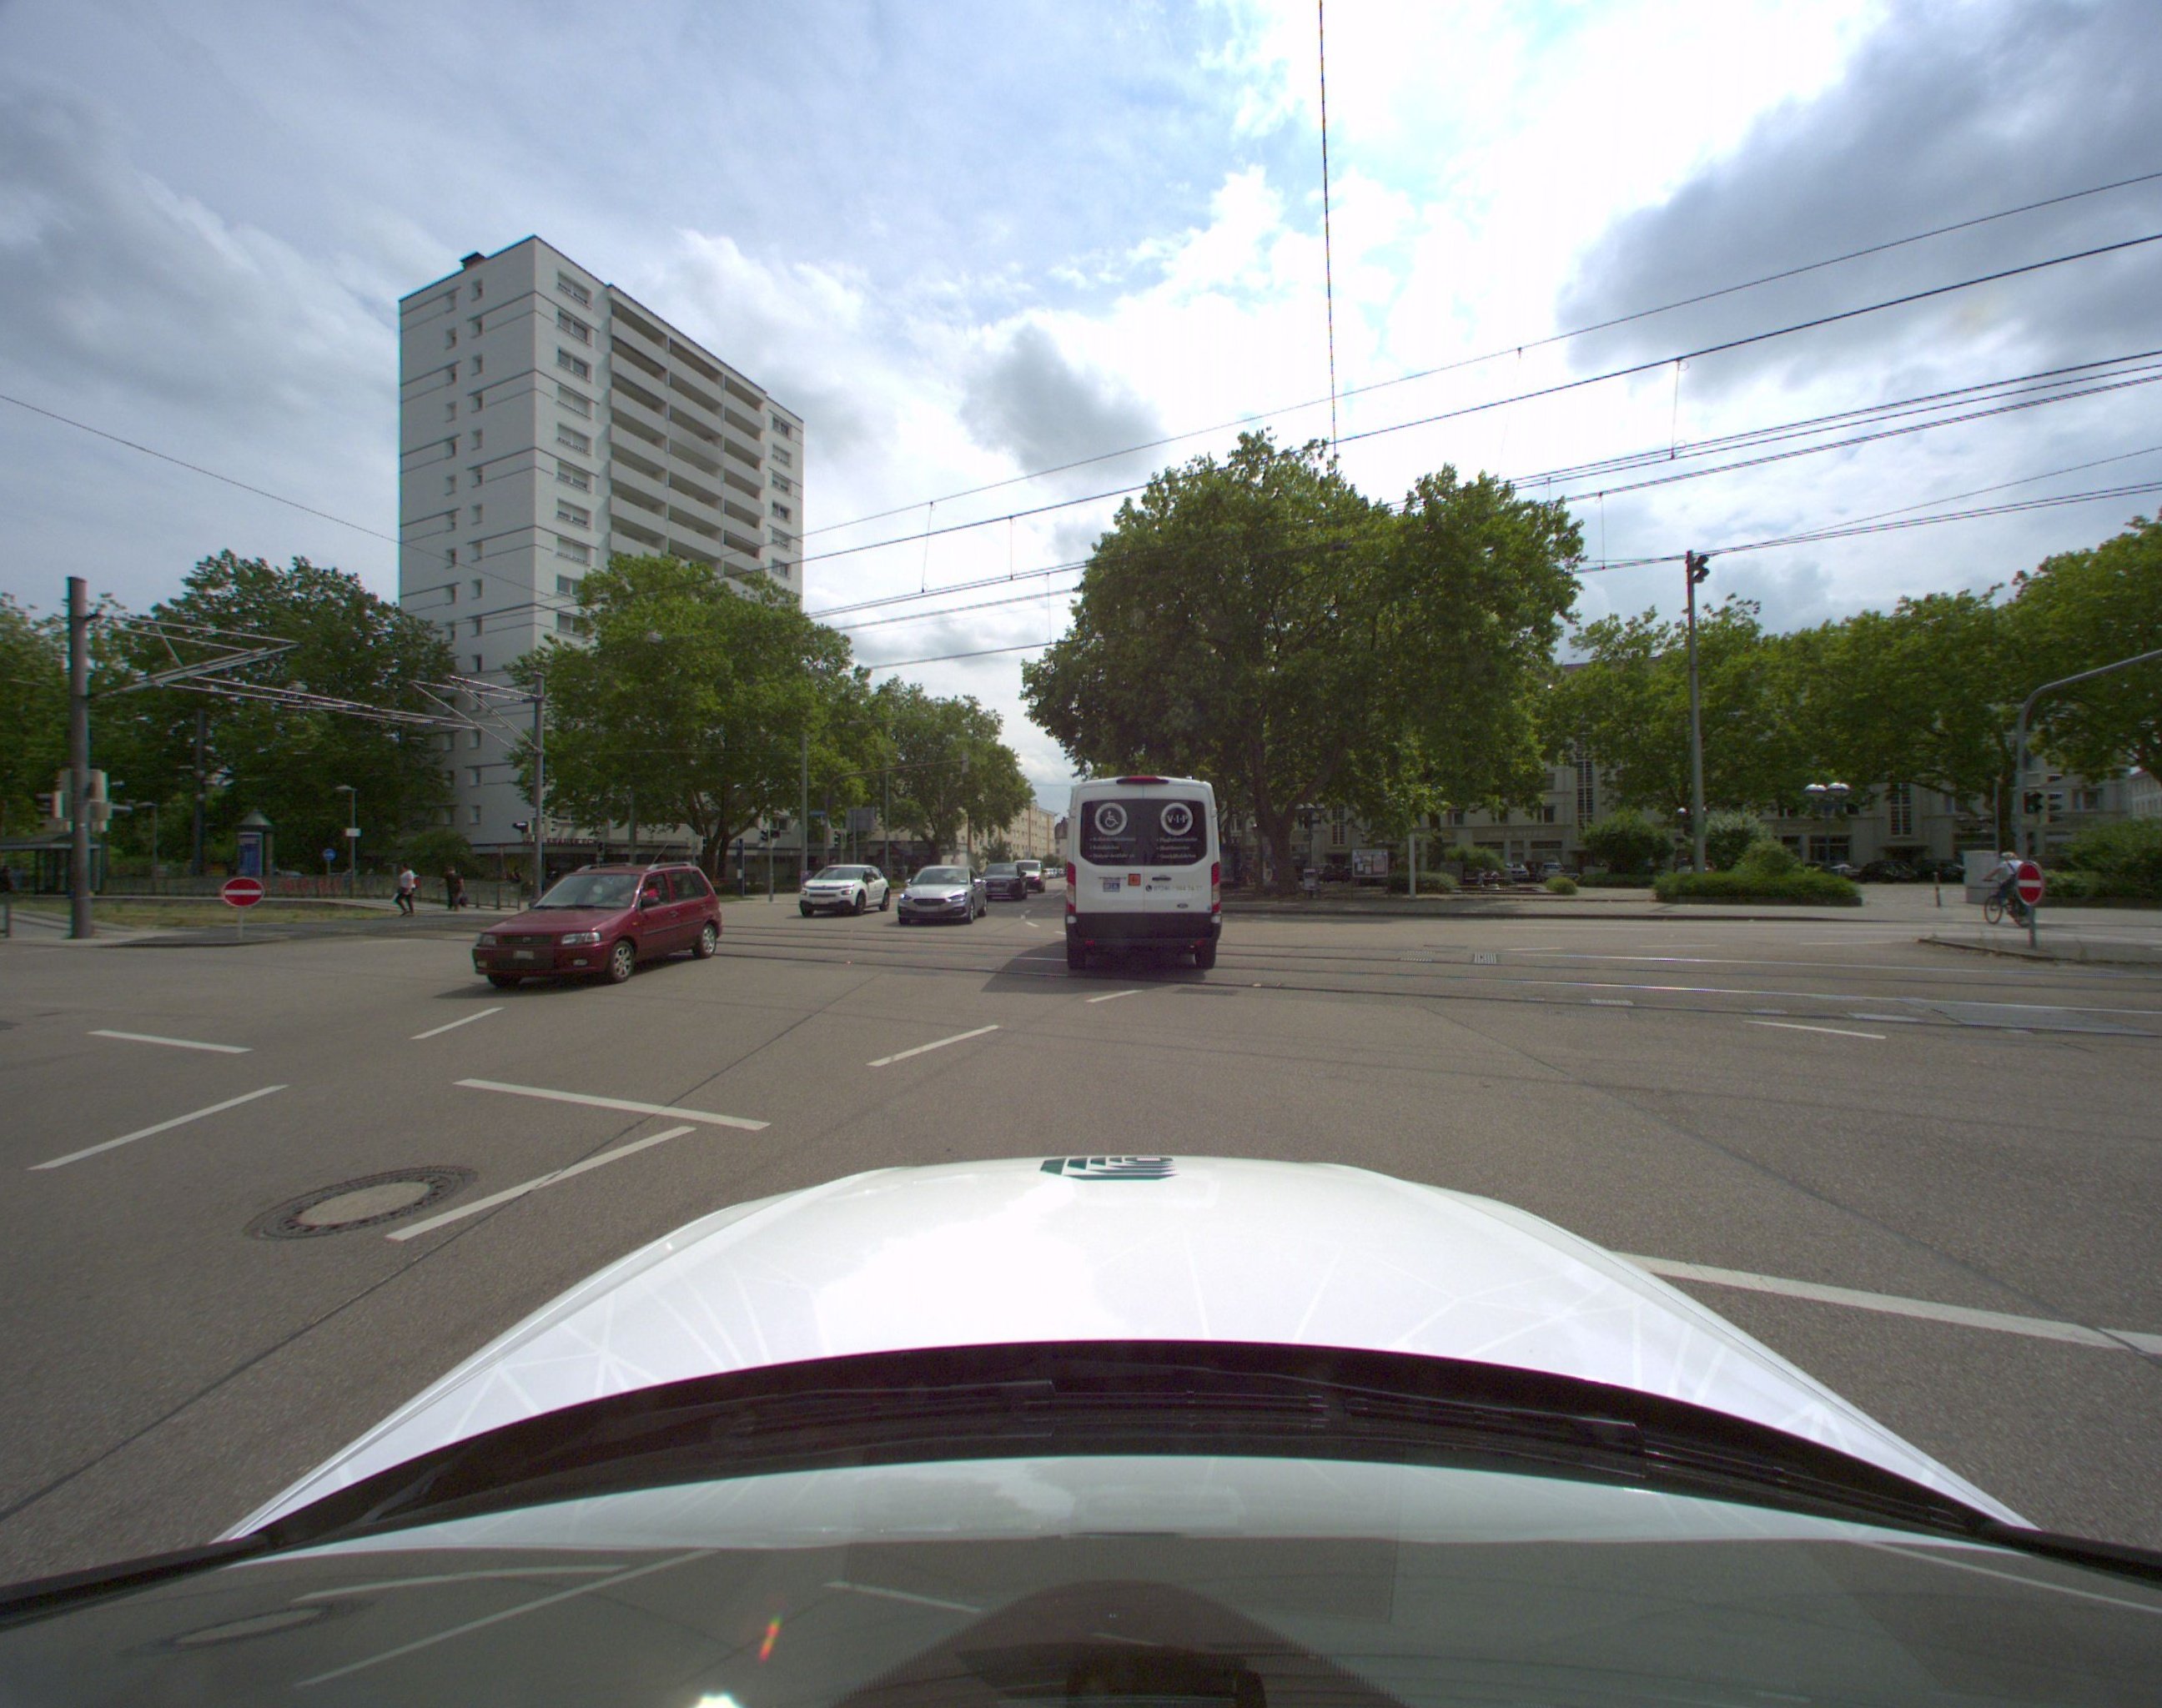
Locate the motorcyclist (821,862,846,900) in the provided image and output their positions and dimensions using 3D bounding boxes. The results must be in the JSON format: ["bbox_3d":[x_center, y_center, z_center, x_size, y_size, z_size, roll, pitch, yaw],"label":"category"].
[{"bbox_3d":[-9.138,0.989,30.090,0.681,1.395,0.681,-1,-1,0],"label":"motorcyclist"}]

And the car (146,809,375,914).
[{"bbox_3d":[-34.206,0.352,33.895,9.795,3.915,3.475,-1,-1,24],"label":"car"}]

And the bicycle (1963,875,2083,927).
[{"bbox_3d":[21.292,1.039,18.481,0.895,1.075,1.979,-1,-1,19],"label":"bicycle"}]

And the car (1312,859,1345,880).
[{"bbox_3d":[20.347,1.272,67.184,1.796,1.684,4.005,-1,-1,5],"label":"car"}]

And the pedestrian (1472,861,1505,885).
[{"bbox_3d":[21.757,1.021,43.535,1.086,1.236,1.442,-3,-2,4],"label":"pedestrian"}]

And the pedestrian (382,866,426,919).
[{"bbox_3d":[-20.417,1.146,24.578,0.800,1.572,0.727,-1,-1,23],"label":"pedestrian"}]

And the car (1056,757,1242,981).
[{"bbox_3d":[0.775,0.165,12.171,2.176,2.648,4.625,-2,0,-2],"label":"car"}]

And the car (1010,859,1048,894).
[{"bbox_3d":[-3.052,1.289,48.480,1.736,1.930,4.856,-1,-1,2],"label":"car"}]

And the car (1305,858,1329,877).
[{"bbox_3d":[22.508,1.270,77.453,1.789,1.684,4.021,-1,-1,22],"label":"car"}]

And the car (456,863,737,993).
[{"bbox_3d":[-6.547,0.899,11.543,1.586,1.508,3.809,-1,-1,2],"label":"car"}]

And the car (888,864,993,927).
[{"bbox_3d":[-3.483,0.985,20.989,1.825,1.427,4.123,-1,-1,2],"label":"car"}]

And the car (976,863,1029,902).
[{"bbox_3d":[-3.376,1.198,35.673,1.736,1.588,4.331,-1,-1,2],"label":"car"}]

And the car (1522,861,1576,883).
[{"bbox_3d":[34.938,1.321,60.955,1.984,1.519,4.005,-1,-1,5],"label":"car"}]

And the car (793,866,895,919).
[{"bbox_3d":[-7.013,1.090,24.549,1.736,1.427,4.034,-1,-1,2],"label":"car"}]

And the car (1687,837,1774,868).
[{"bbox_3d":[41.299,-0.093,51.903,3.951,1.883,1.868,-1,-1,24],"label":"car"}]

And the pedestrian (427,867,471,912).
[{"bbox_3d":[-21.826,1.226,28.133,0.716,1.514,0.935,-1,-1,12],"label":"pedestrian"}]

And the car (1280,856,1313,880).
[{"bbox_3d":[17.858,1.117,67.649,1.984,1.931,4.005,-1,-1,5],"label":"car"}]

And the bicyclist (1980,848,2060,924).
[{"bbox_3d":[21.268,0.714,18.469,0.896,1.683,0.760,-1,-1,19],"label":"bicyclist"}]

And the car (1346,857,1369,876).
[{"bbox_3d":[25.787,1.146,75.883,1.789,1.684,4.021,-1,-1,22],"label":"car"}]

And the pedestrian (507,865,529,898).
[{"bbox_3d":[-32.300,1.578,46.732,0.755,1.884,0.744,-1,-1,26],"label":"pedestrian"}]

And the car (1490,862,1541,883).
[{"bbox_3d":[32.699,1.355,61.433,1.984,1.503,4.005,-1,-1,5],"label":"car"}]

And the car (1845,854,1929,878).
[{"bbox_3d":[52.551,0.749,53.200,1.758,1.503,4.005,-1,-1,5],"label":"car"}]
